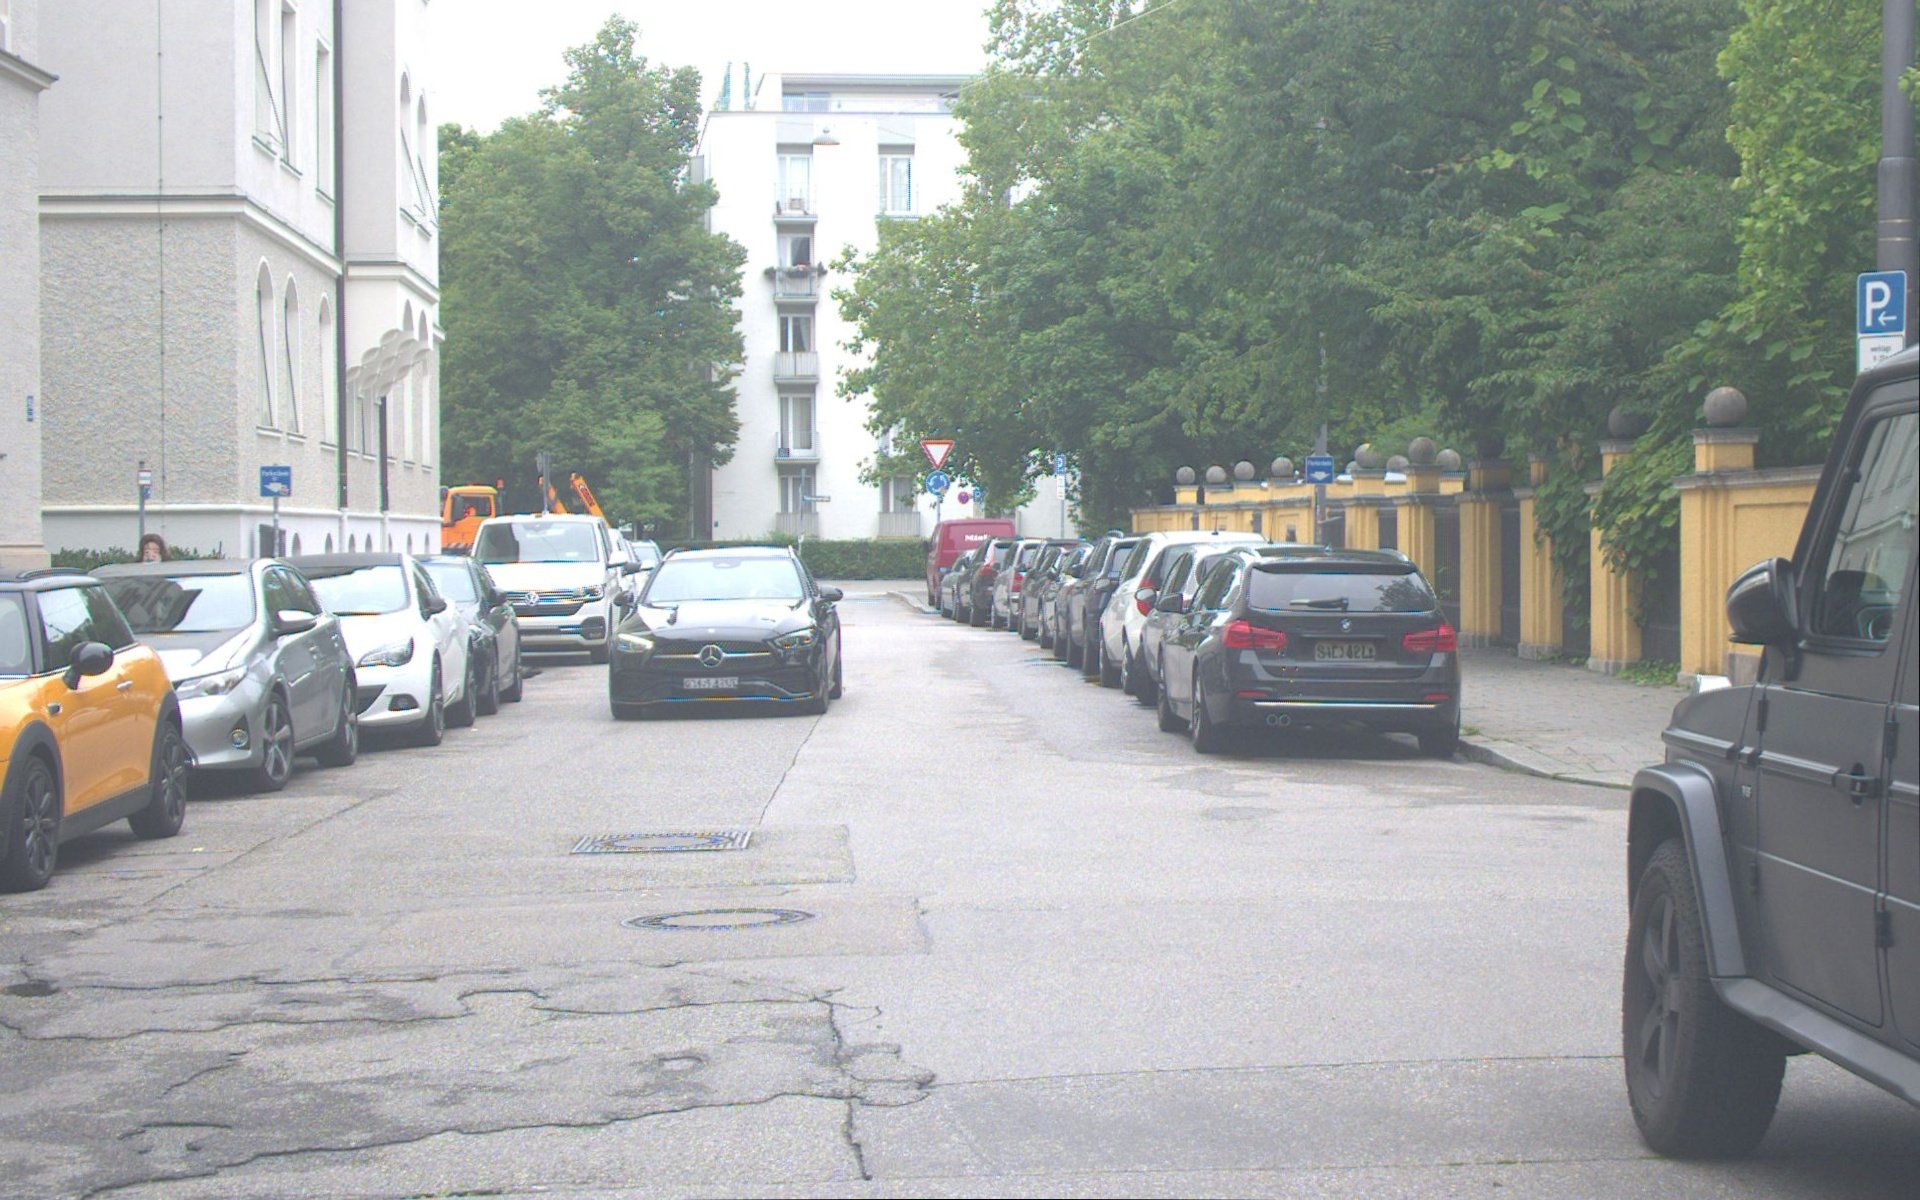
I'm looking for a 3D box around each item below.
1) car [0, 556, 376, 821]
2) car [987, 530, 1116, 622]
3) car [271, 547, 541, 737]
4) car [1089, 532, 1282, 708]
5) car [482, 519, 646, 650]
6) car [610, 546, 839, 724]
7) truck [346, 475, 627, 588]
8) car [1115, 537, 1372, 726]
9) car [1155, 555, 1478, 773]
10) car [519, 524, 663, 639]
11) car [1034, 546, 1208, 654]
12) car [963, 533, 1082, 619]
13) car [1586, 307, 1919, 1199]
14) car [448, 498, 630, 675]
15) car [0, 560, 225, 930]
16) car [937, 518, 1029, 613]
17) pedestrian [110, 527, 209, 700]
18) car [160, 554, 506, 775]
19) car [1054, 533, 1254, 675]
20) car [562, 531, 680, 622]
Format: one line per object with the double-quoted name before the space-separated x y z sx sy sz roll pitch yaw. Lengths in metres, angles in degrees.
"car" -4.983 0.496 22.109 1.726 1.494 3.930 -2 1 0
"car" 1.538 -0.428 59.296 1.838 1.513 3.948 1 1 -4
"car" -5.043 0.329 31.820 1.836 1.494 4.275 -3 2 -2
"car" 2.219 0.169 34.548 1.513 1.656 3.674 1 1 -3
"car" -5.895 -0.273 51.630 2.015 1.765 4.414 -3 2 -2
"car" -2.037 0.253 30.503 1.874 1.423 4.409 -1 1 -3
"truck" -13.970 -2.067 101.633 7.670 3.230 2.899 -1 1 -30
"car" 2.392 0.231 29.818 1.652 1.513 3.796 1 1 -4
"car" 2.469 0.393 24.801 1.838 1.408 4.343 1 1 0
"car" -6.119 -0.343 57.434 2.015 1.720 4.275 -3 2 -2
"car" 2.077 -0.027 45.305 1.838 1.341 3.948 1 1 -4
"car" 1.124 -0.459 63.251 1.838 1.513 3.948 1 1 -4
"car" 2.656 0.453 6.619 1.950 1.947 4.666 1 2 -1
"car" -5.507 -0.228 45.501 1.886 2.120 4.707 -3 2 -2
"car" -4.853 0.634 16.536 1.640 1.494 3.972 -3 2 1
"car" 0.527 -0.786 75.106 1.836 1.920 4.005 2 2 2
"pedestrian" -7.884 0.124 33.878 0.792 1.673 0.700 -1 1 -1
"car" -4.817 0.437 27.004 1.836 1.433 4.275 -3 2 0
"car" 2.205 0.014 40.059 1.838 1.546 3.948 1 1 -4
"car" -6.772 -0.505 69.156 2.015 1.628 4.414 -3 2 -2
